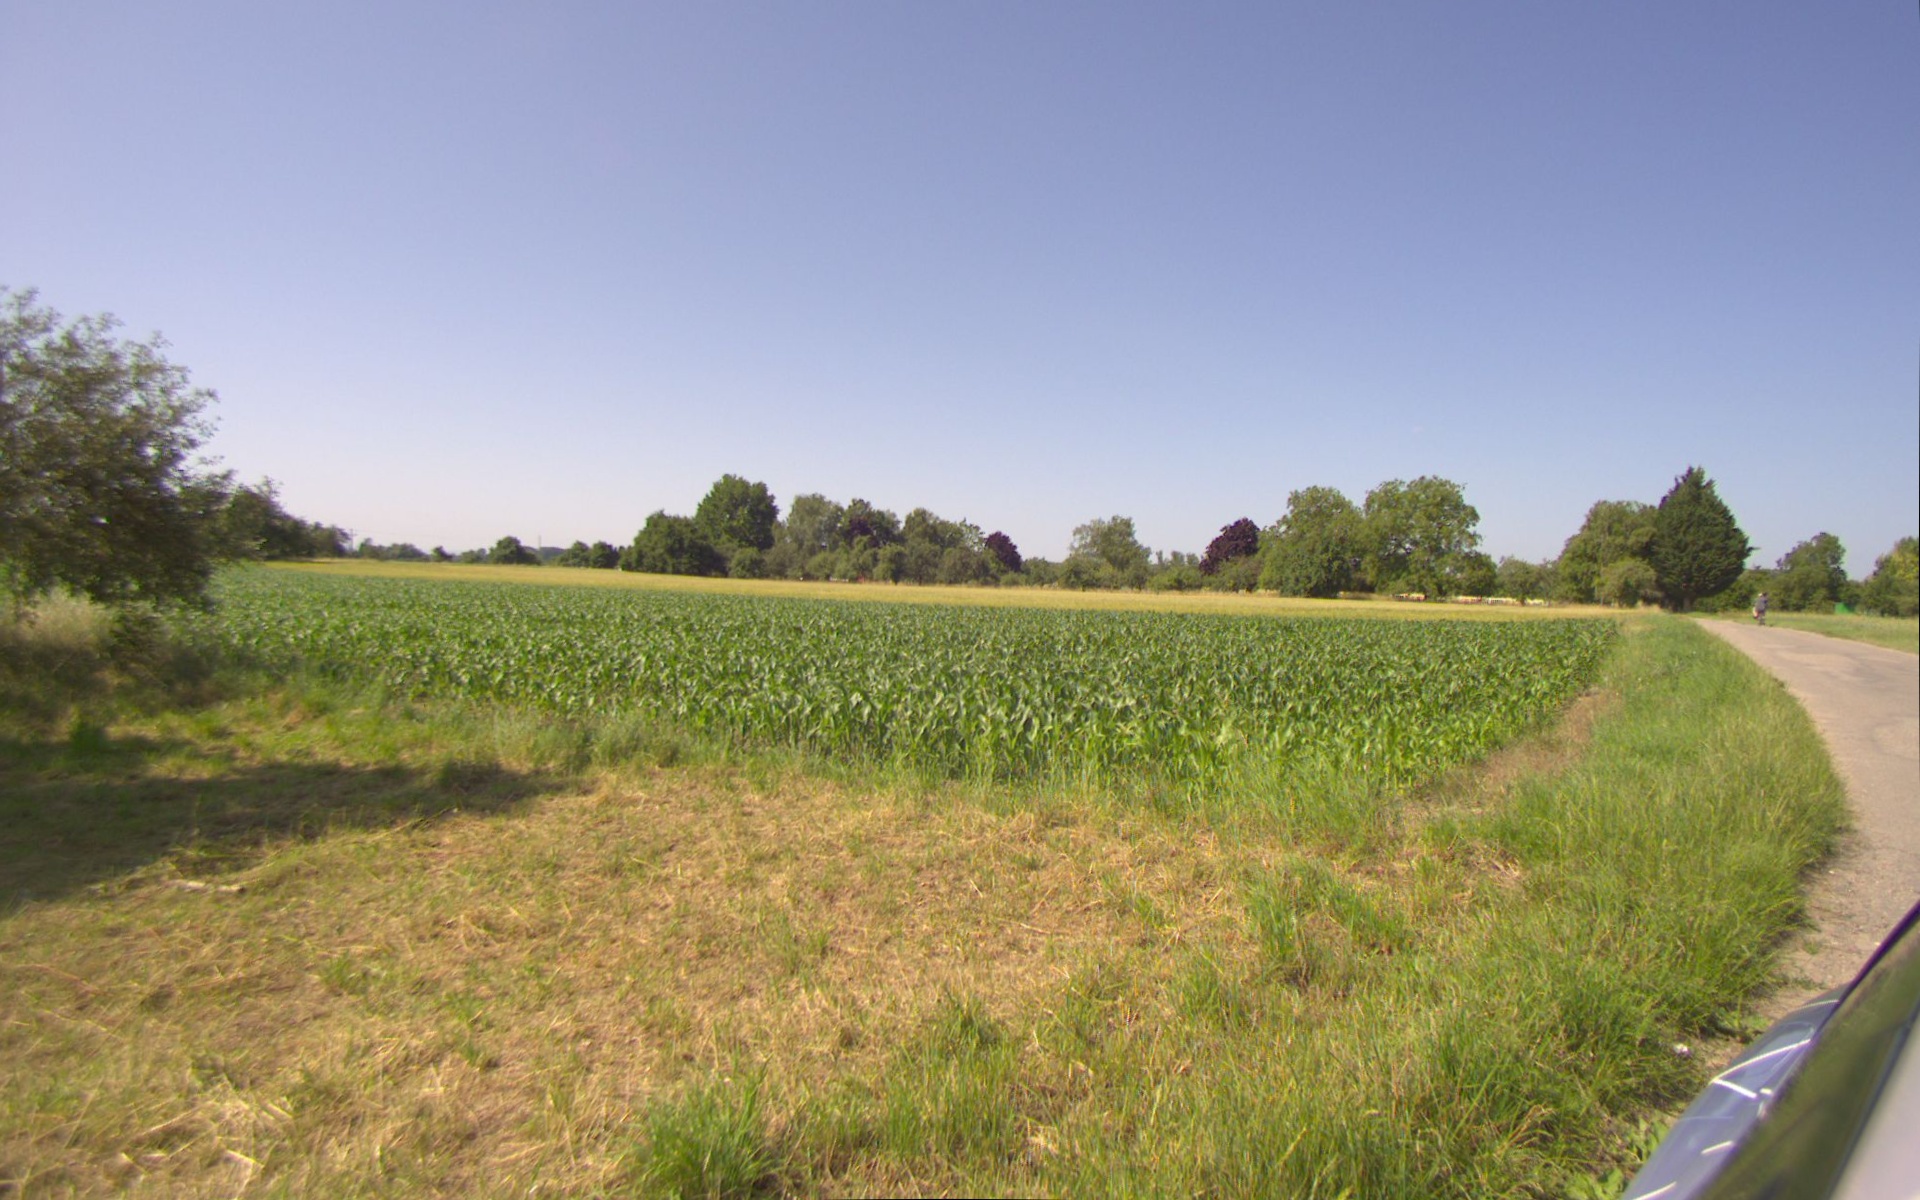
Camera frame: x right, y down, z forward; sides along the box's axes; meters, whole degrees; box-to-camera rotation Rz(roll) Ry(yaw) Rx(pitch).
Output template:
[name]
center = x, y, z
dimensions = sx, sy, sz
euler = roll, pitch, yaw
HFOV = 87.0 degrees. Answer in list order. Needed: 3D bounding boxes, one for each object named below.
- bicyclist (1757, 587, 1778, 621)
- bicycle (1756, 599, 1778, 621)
[bicyclist]
center = 44.714, 0.206, 56.032
dimensions = 0.750, 1.813, 0.706
euler = 5, 3, 43
[bicycle]
center = 44.704, 0.545, 56.044
dimensions = 0.750, 1.141, 1.879
euler = 5, 3, 42
